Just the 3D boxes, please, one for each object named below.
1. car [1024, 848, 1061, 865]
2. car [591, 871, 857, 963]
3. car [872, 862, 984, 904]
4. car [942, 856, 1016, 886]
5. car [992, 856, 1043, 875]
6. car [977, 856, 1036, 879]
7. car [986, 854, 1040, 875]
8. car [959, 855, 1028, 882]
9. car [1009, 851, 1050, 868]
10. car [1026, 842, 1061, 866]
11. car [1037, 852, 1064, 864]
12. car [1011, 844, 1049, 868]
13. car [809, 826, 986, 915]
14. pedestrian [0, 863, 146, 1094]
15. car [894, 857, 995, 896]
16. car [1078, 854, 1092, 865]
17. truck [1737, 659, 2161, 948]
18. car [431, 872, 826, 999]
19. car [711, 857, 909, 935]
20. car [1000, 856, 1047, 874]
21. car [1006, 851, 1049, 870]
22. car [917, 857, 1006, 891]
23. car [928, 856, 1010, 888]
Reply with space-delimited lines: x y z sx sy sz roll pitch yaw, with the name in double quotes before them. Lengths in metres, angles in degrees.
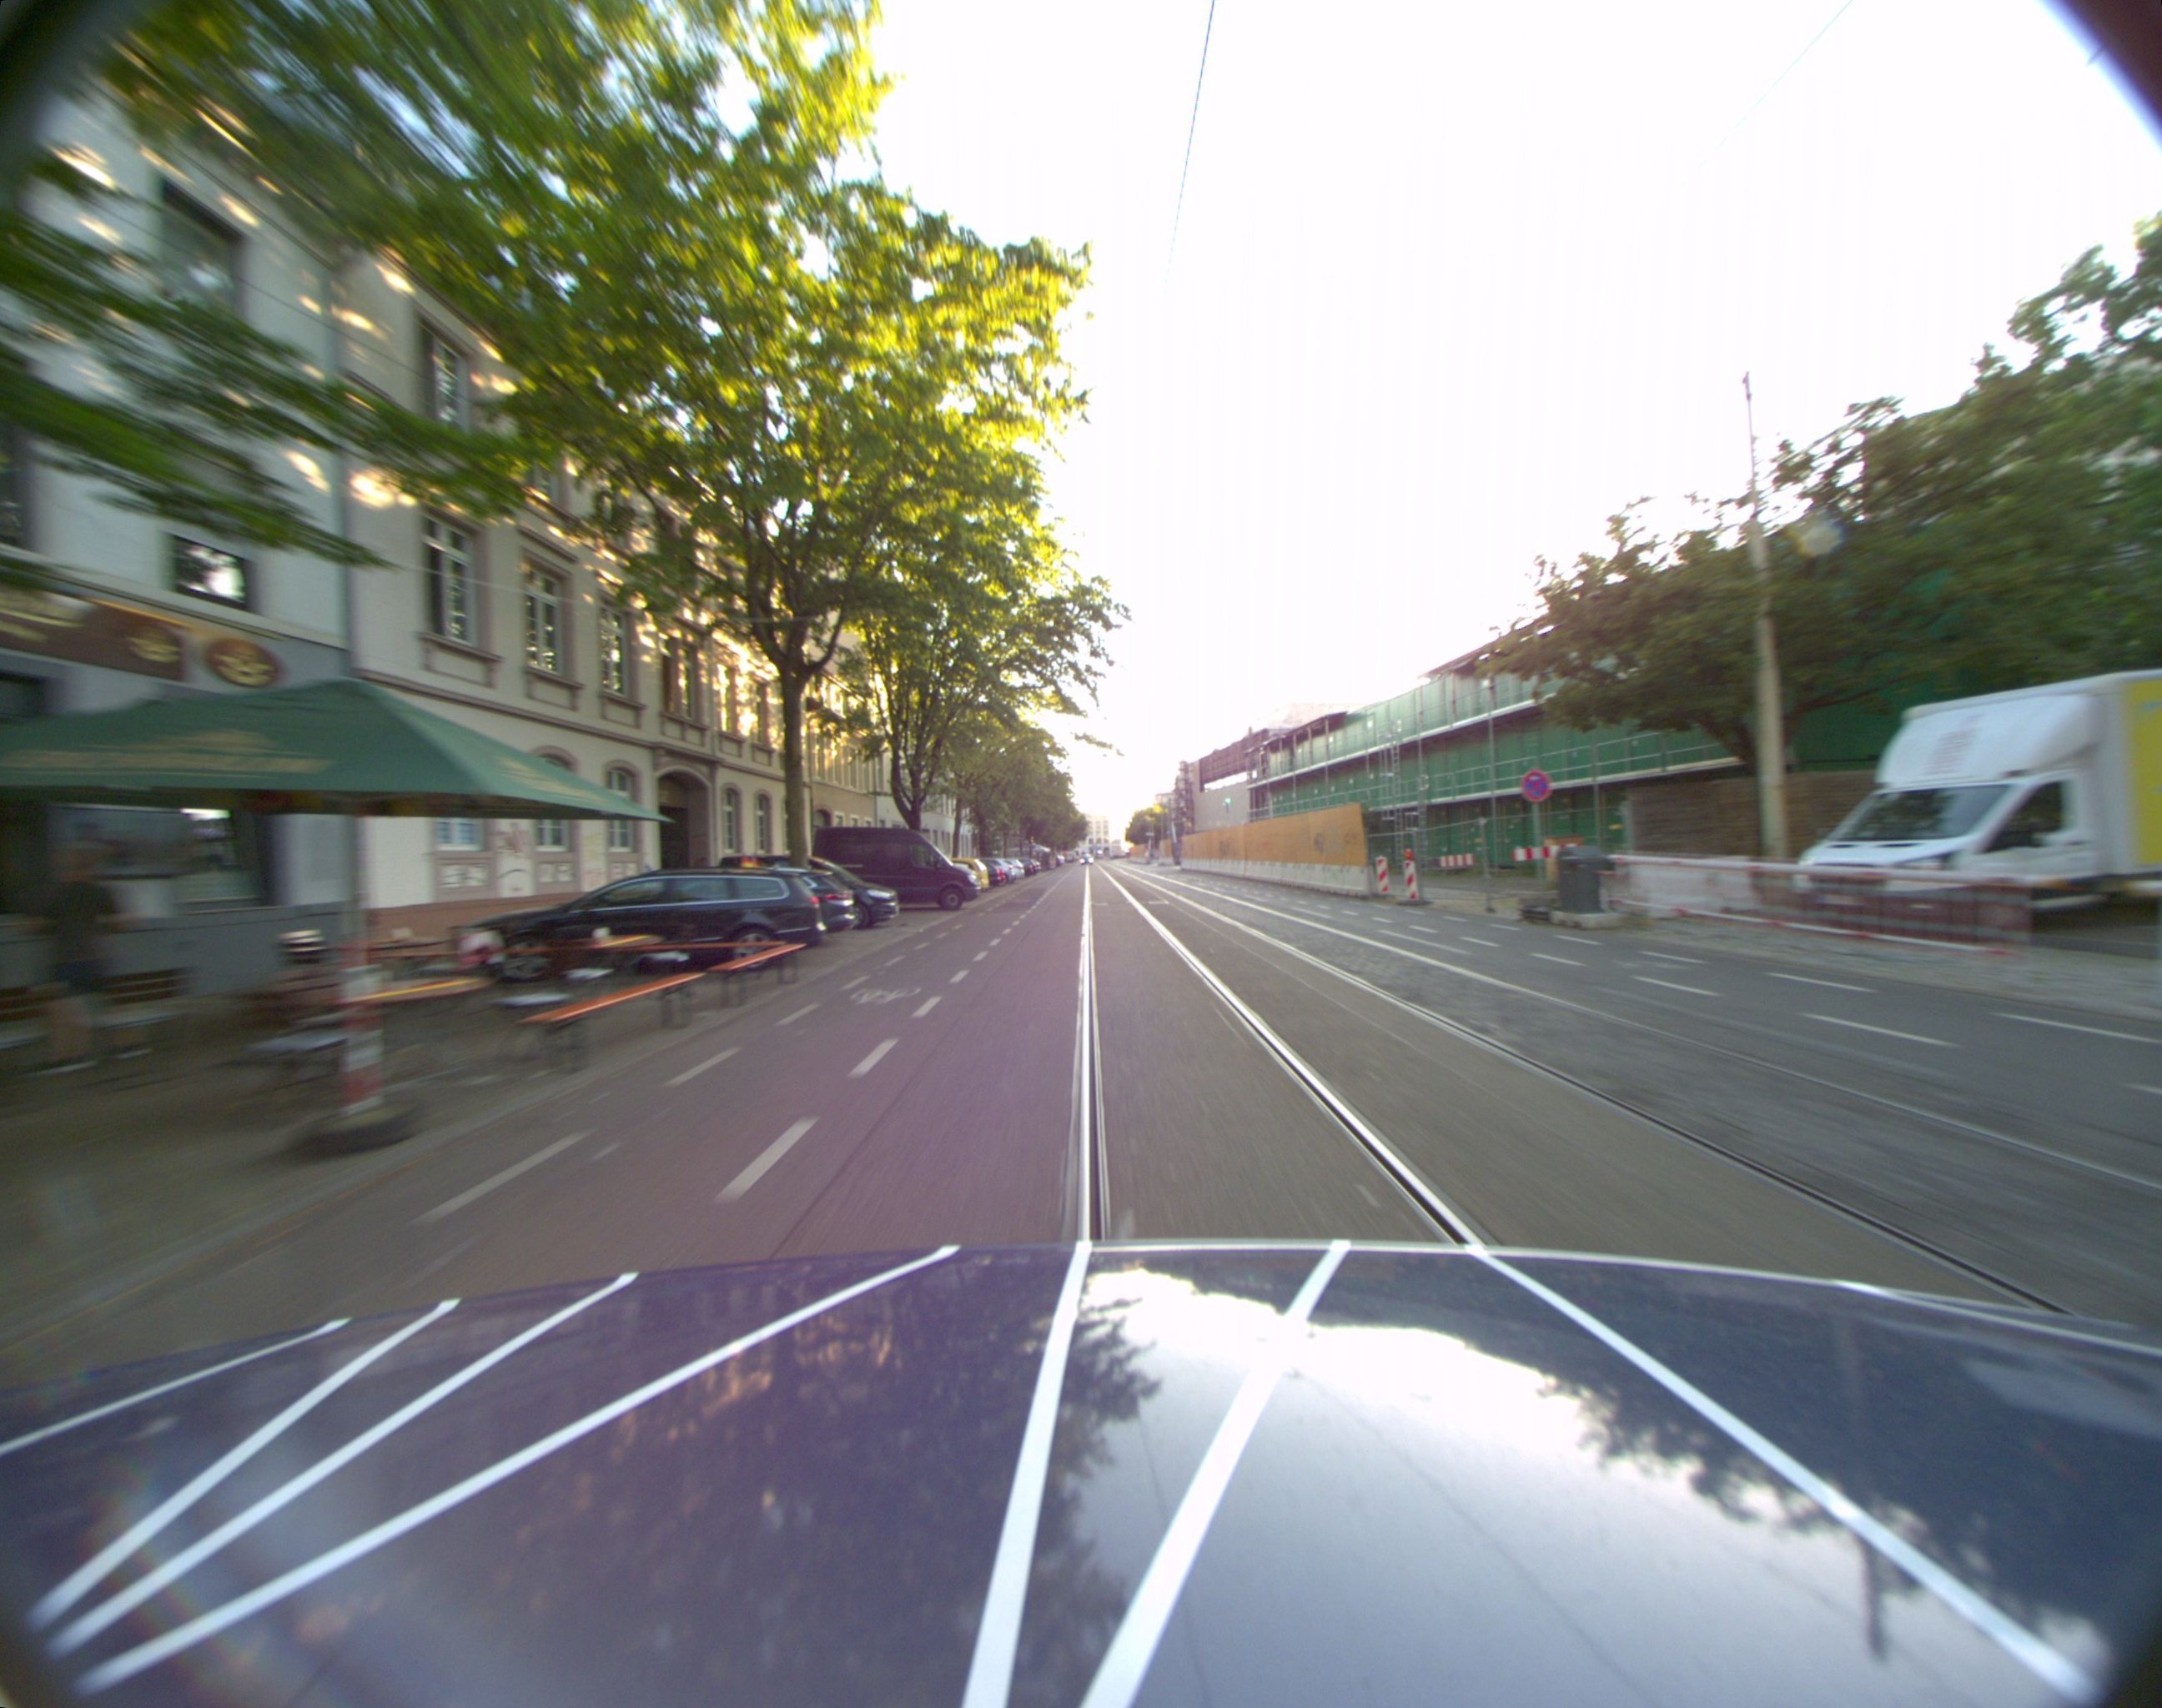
"car" -4.500 0.331 88.581 3.997 1.952 1.720 0 -1 -14
"car" -6.284 1.069 13.894 4.121 1.444 1.808 0 -1 -15
"car" -5.827 1.060 28.819 3.998 1.476 1.720 0 -1 -17
"car" -5.677 0.920 42.170 3.996 1.566 1.720 0 -1 -11
"car" -5.368 0.985 63.850 3.997 1.566 1.720 0 -1 -14
"car" -5.284 0.930 53.776 3.997 1.566 1.720 0 -1 -14
"car" -5.287 0.827 58.857 3.997 1.566 1.720 0 -1 -14
"car" -5.310 0.878 46.021 3.997 1.566 1.720 0 -1 -14
"car" -5.298 0.566 78.409 3.997 1.759 1.720 0 -1 -14
"car" -4.531 0.010 91.584 3.997 2.811 1.720 0 0 -14
"car" -4.503 0.647 113.188 3.991 1.681 1.722 -1 -1 1
"car" -5.669 0.209 84.651 3.991 2.551 1.722 -1 0 1
"car" -5.759 0.472 24.049 5.236 2.605 1.925 0 0 -16
"pedestrian" -8.158 0.951 6.090 0.498 1.742 0.646 0 1 5
"car" -5.816 0.954 32.770 3.991 1.589 1.722 -1 -1 2
"car" 0.615 0.867 119.441 1.998 1.674 4.000 -3 0 1
"truck" 13.828 -0.716 10.724 7.078 3.408 2.565 -3 0 -4
"car" -6.292 1.044 11.167 4.643 1.508 1.807 0 -1 -26
"car" -6.186 0.939 17.671 3.992 1.689 1.722 -1 -1 -1
"car" -5.192 0.962 68.656 3.997 1.566 1.720 0 -1 -14
"car" -5.244 0.644 74.735 3.997 1.829 1.720 0 -1 -14
"car" -5.742 0.952 36.883 3.991 1.566 1.722 -1 -1 2
"car" -5.812 0.944 39.755 3.991 1.566 1.722 -1 -1 2
